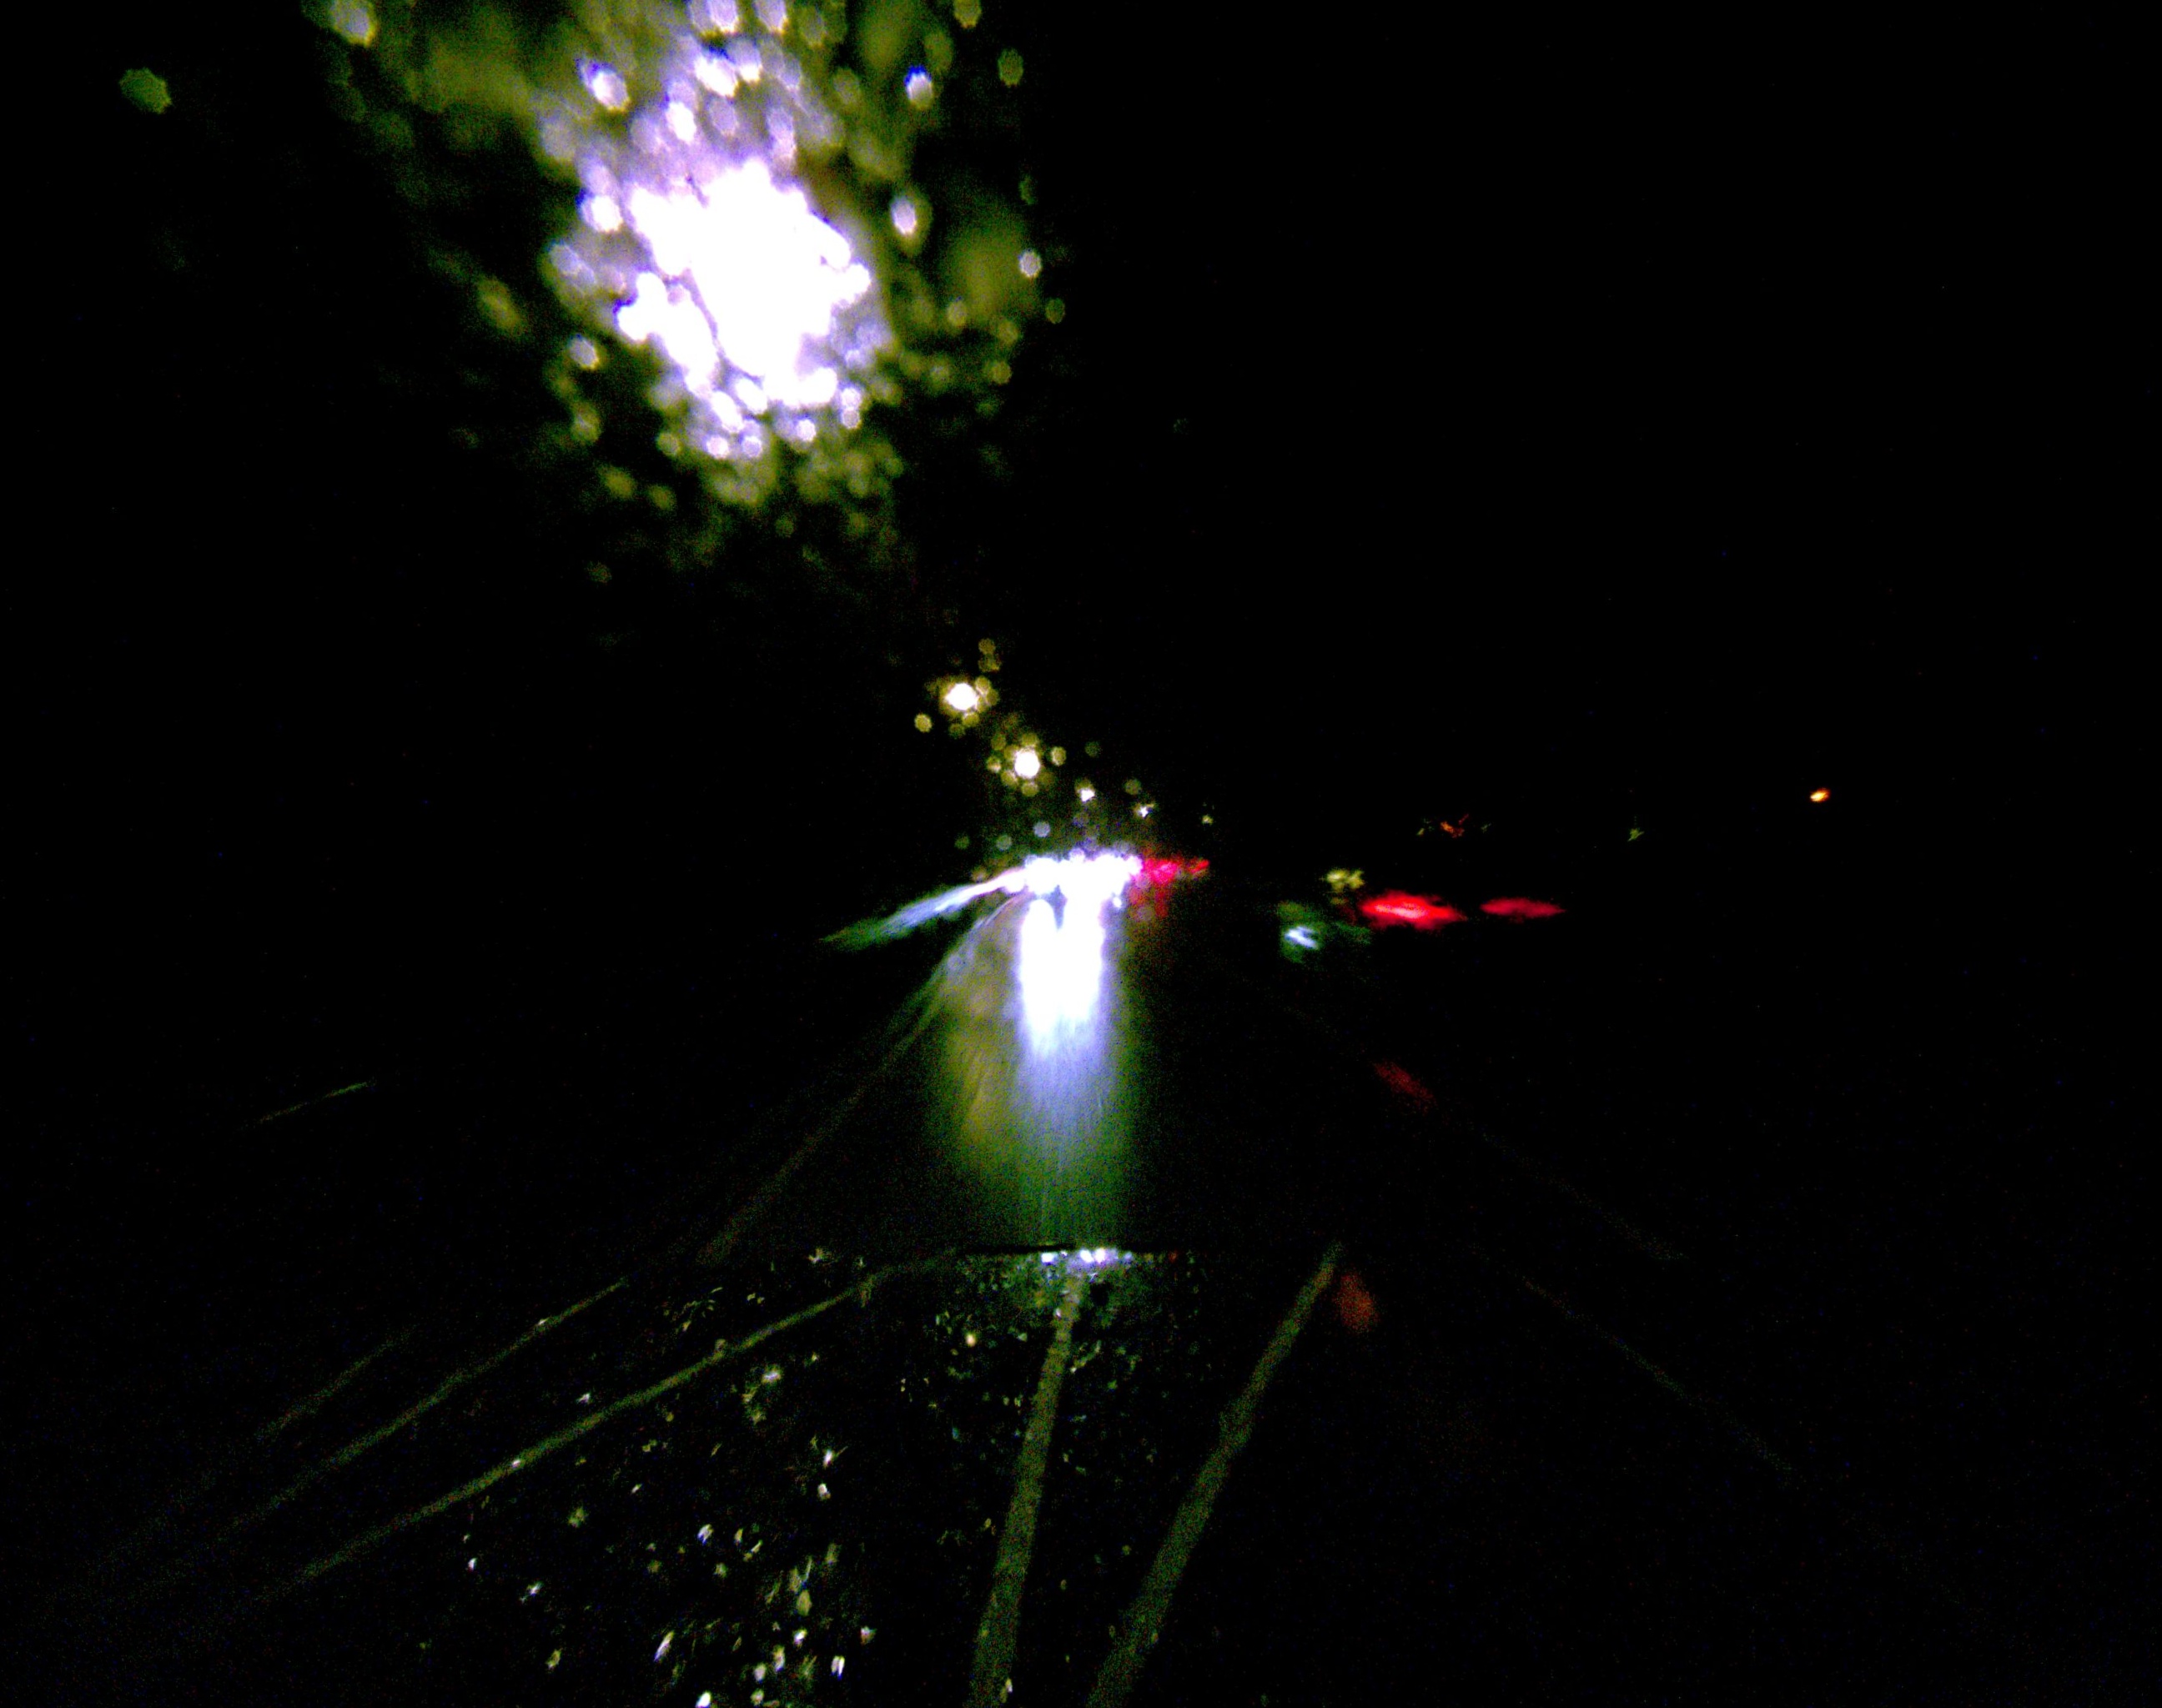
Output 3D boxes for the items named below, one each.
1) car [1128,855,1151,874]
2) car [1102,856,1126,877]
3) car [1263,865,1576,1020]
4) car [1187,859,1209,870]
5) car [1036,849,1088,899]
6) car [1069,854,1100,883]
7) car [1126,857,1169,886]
[{"bbox_3d":[4.684,0.821,61.283,1.622,1.470,4.046,-1,0,1],"label":"car"},{"bbox_3d":[3.209,1.194,74.078,1.997,1.922,4.003,-1,-1,7],"label":"car"},{"bbox_3d":[3.775,0.879,9.376,1.829,1.394,4.035,-2,0,-3],"label":"car"},{"bbox_3d":[15.222,1.331,98.341,1.794,1.384,4.598,1,1,22],"label":"car"},{"bbox_3d":[-0.723,0.769,30.570,1.936,1.861,4.000,-1,0,0],"label":"car"},{"bbox_3d":[0.272,1.000,52.655,1.998,1.922,4.001,0,-1,3],"label":"car"},{"bbox_3d":[3.541,0.912,41.114,1.764,1.423,4.327,-1,0,-2],"label":"car"}]
